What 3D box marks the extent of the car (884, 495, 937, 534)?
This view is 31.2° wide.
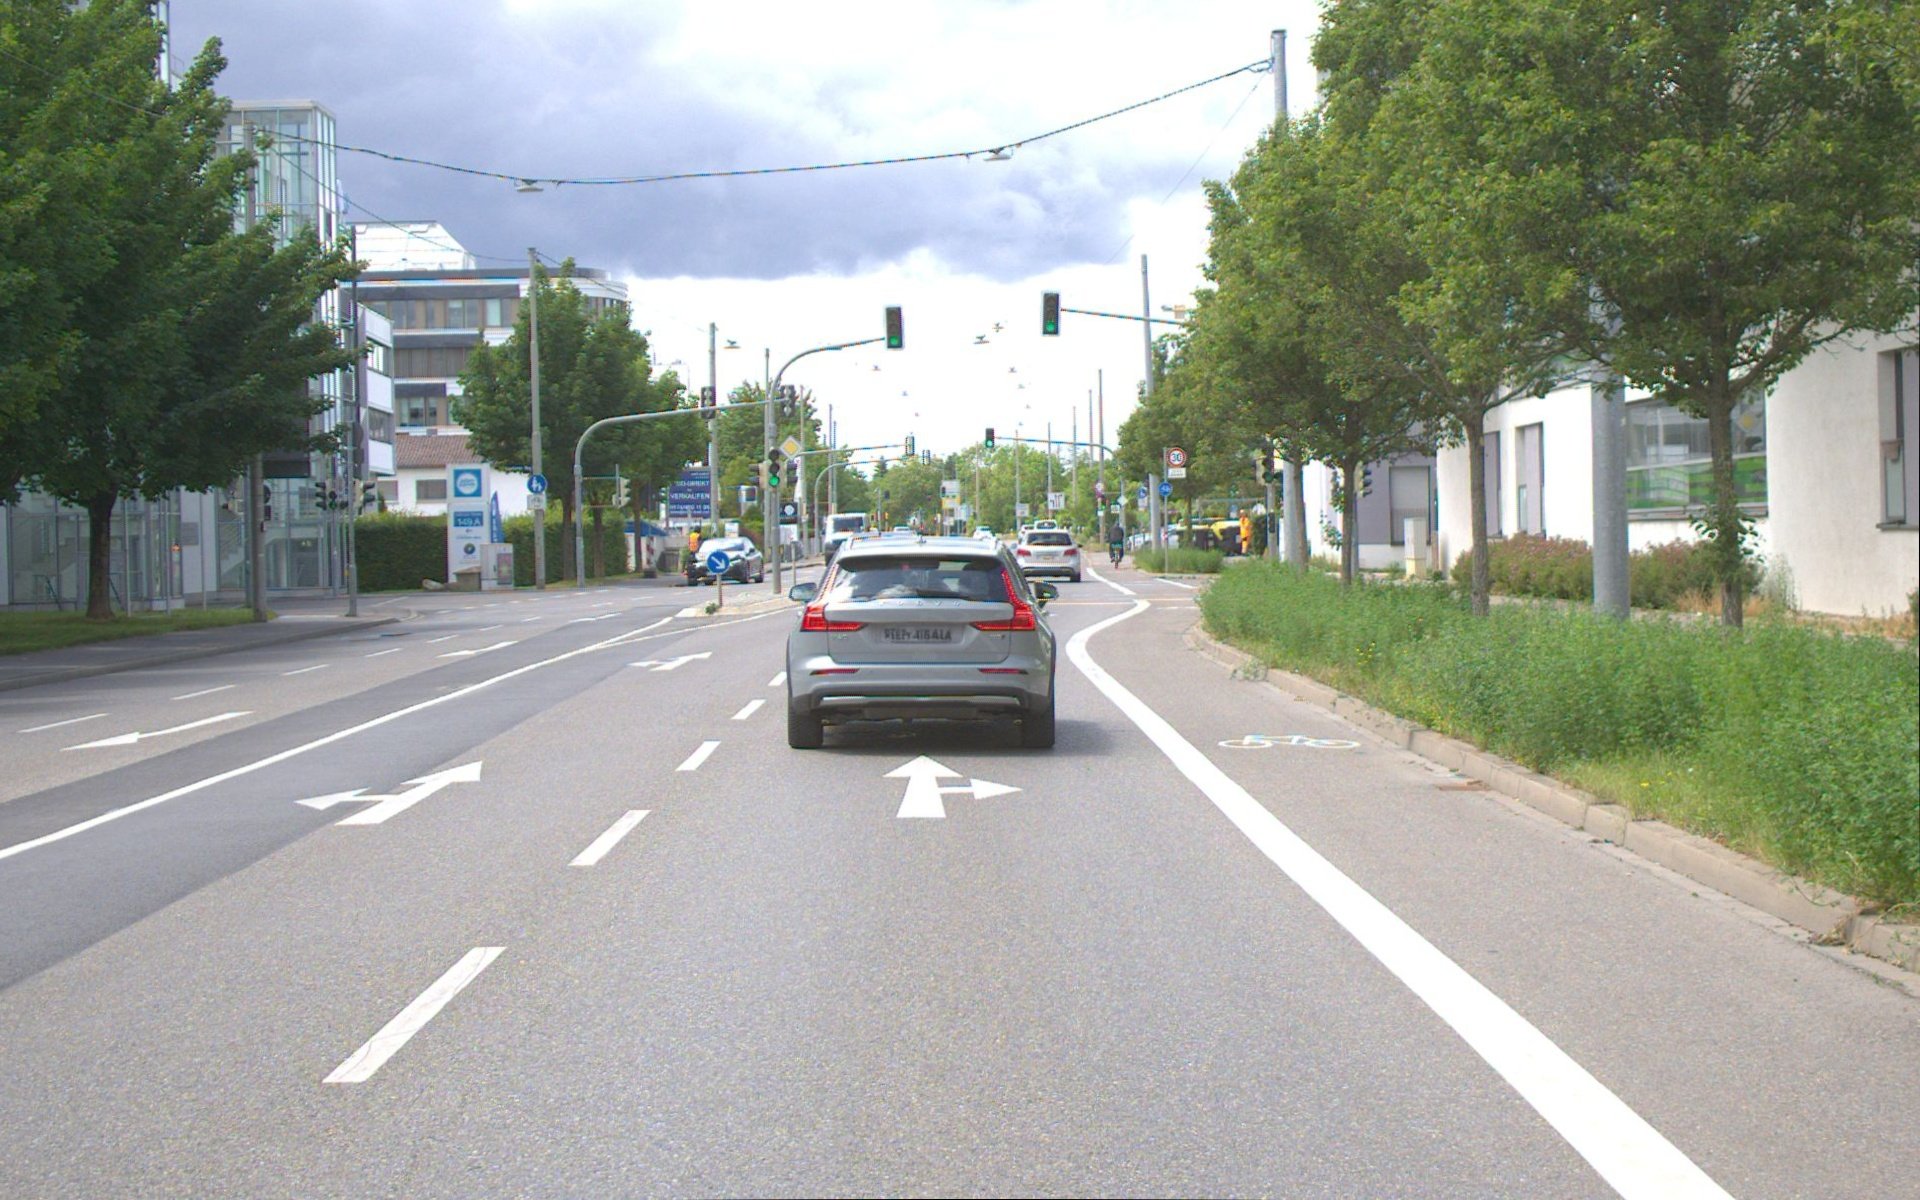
[{"bbox_3d":[-2.091,-3.628,146.523,1.885,1.546,4.539,-2,1,4],"label":"car"}]

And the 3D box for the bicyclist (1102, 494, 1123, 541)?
[{"bbox_3d":[5.579,-3.010,125.784,0.638,1.669,0.890,-5,1,2],"label":"bicyclist"}]

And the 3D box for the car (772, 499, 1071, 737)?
[{"bbox_3d":[-0.195,0.089,24.817,1.896,1.549,4.000,1,1,3],"label":"car"}]

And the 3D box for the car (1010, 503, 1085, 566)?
[{"bbox_3d":[2.428,-1.822,95.939,1.993,1.689,4.000,1,1,0],"label":"car"}]

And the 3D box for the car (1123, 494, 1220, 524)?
[{"bbox_3d":[10.505,-4.534,171.150,4.696,1.488,2.046,0,2,1],"label":"car"}]

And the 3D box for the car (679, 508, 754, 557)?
[{"bbox_3d":[-7.707,-2.138,109.217,2.024,1.440,5.050,-3,1,-1],"label":"car"}]

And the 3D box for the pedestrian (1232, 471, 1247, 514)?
[{"bbox_3d":[11.419,-4.400,140.427,0.507,1.759,0.500,1,1,18],"label":"pedestrian"}]

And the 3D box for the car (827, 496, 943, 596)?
[{"bbox_3d":[-1.343,-0.971,61.779,1.993,1.711,4.000,1,1,-1],"label":"car"}]

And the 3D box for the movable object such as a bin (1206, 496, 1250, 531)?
[{"bbox_3d":[11.094,-3.585,142.395,1.322,1.430,1.248,-1,0,38],"label":"movable object such as a bin"}]

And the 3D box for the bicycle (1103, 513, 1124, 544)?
[{"bbox_3d":[5.614,-2.604,125.622,0.638,1.059,1.977,-5,2,2],"label":"bicycle"}]

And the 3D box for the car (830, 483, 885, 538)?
[{"bbox_3d":[-4.862,-4.262,163.829,2.143,2.463,6.073,-3,1,2],"label":"car"}]

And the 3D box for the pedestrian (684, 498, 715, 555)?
[{"bbox_3d":[-9.305,-2.610,122.627,0.726,2.007,0.808,1,1,44],"label":"pedestrian"}]
